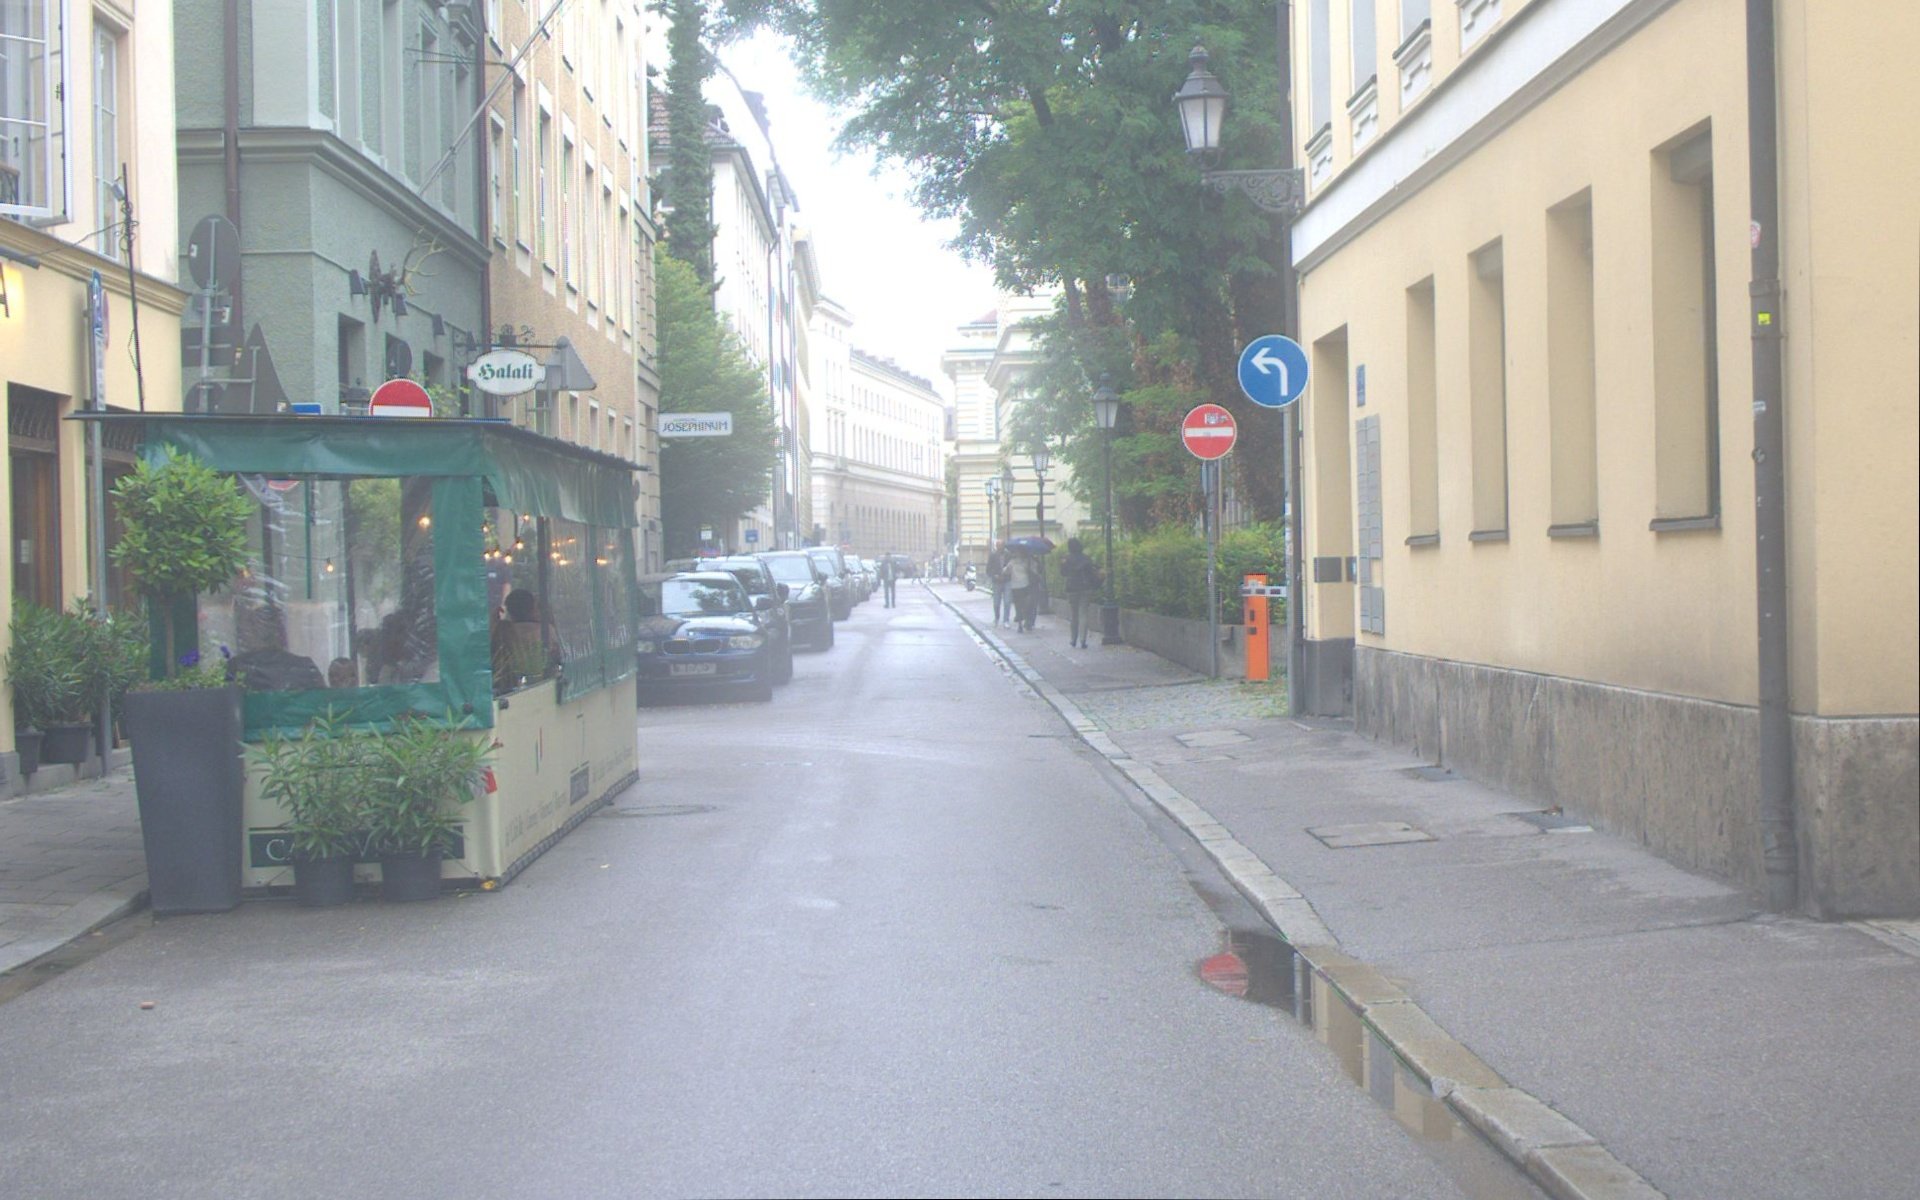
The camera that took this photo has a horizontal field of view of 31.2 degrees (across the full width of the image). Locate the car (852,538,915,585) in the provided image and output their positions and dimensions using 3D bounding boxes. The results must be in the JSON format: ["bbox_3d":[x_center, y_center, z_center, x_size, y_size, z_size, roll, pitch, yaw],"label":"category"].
[{"bbox_3d":[-2.407,-1.216,108.358,1.779,1.461,3.542,0,1,2],"label":"car"}]

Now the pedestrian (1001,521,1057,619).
[{"bbox_3d":[1.280,-0.568,64.032,1.015,1.796,1.349,0,1,0],"label":"pedestrian"}]

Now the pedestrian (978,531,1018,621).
[{"bbox_3d":[0.766,-0.490,68.795,0.793,1.796,0.903,0,1,0],"label":"pedestrian"}]

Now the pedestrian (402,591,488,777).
[{"bbox_3d":[-3.479,0.561,23.255,0.509,1.233,0.631,0,1,-2],"label":"pedestrian"}]

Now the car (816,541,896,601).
[{"bbox_3d":[-2.607,-0.748,86.814,1.779,1.461,3.542,0,1,2],"label":"car"}]

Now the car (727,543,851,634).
[{"bbox_3d":[-2.808,-0.216,57.086,1.779,1.461,3.542,0,1,2],"label":"car"}]

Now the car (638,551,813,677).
[{"bbox_3d":[-2.830,0.142,42.131,1.779,1.461,3.542,0,1,2],"label":"car"}]

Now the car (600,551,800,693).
[{"bbox_3d":[-2.787,0.203,37.564,1.779,1.461,3.663,0,1,2],"label":"car"}]

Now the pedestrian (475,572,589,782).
[{"bbox_3d":[-2.743,0.483,22.096,0.673,1.322,0.696,0,1,-2],"label":"pedestrian"}]

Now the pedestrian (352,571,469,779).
[{"bbox_3d":[-3.565,0.474,22.334,0.673,1.322,0.696,0,1,-2],"label":"pedestrian"}]

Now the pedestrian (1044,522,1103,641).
[{"bbox_3d":[1.728,-0.287,52.529,0.880,1.796,1.046,0,1,0],"label":"pedestrian"}]

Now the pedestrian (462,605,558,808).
[{"bbox_3d":[-2.669,0.623,20.422,0.509,1.171,0.631,0,1,-2],"label":"pedestrian"}]

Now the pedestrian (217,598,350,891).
[{"bbox_3d":[-3.132,0.657,15.944,0.509,1.322,0.631,0,1,-2],"label":"pedestrian"}]

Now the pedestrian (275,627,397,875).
[{"bbox_3d":[-3.071,0.734,16.954,0.509,1.183,0.631,0,1,-2],"label":"pedestrian"}]
